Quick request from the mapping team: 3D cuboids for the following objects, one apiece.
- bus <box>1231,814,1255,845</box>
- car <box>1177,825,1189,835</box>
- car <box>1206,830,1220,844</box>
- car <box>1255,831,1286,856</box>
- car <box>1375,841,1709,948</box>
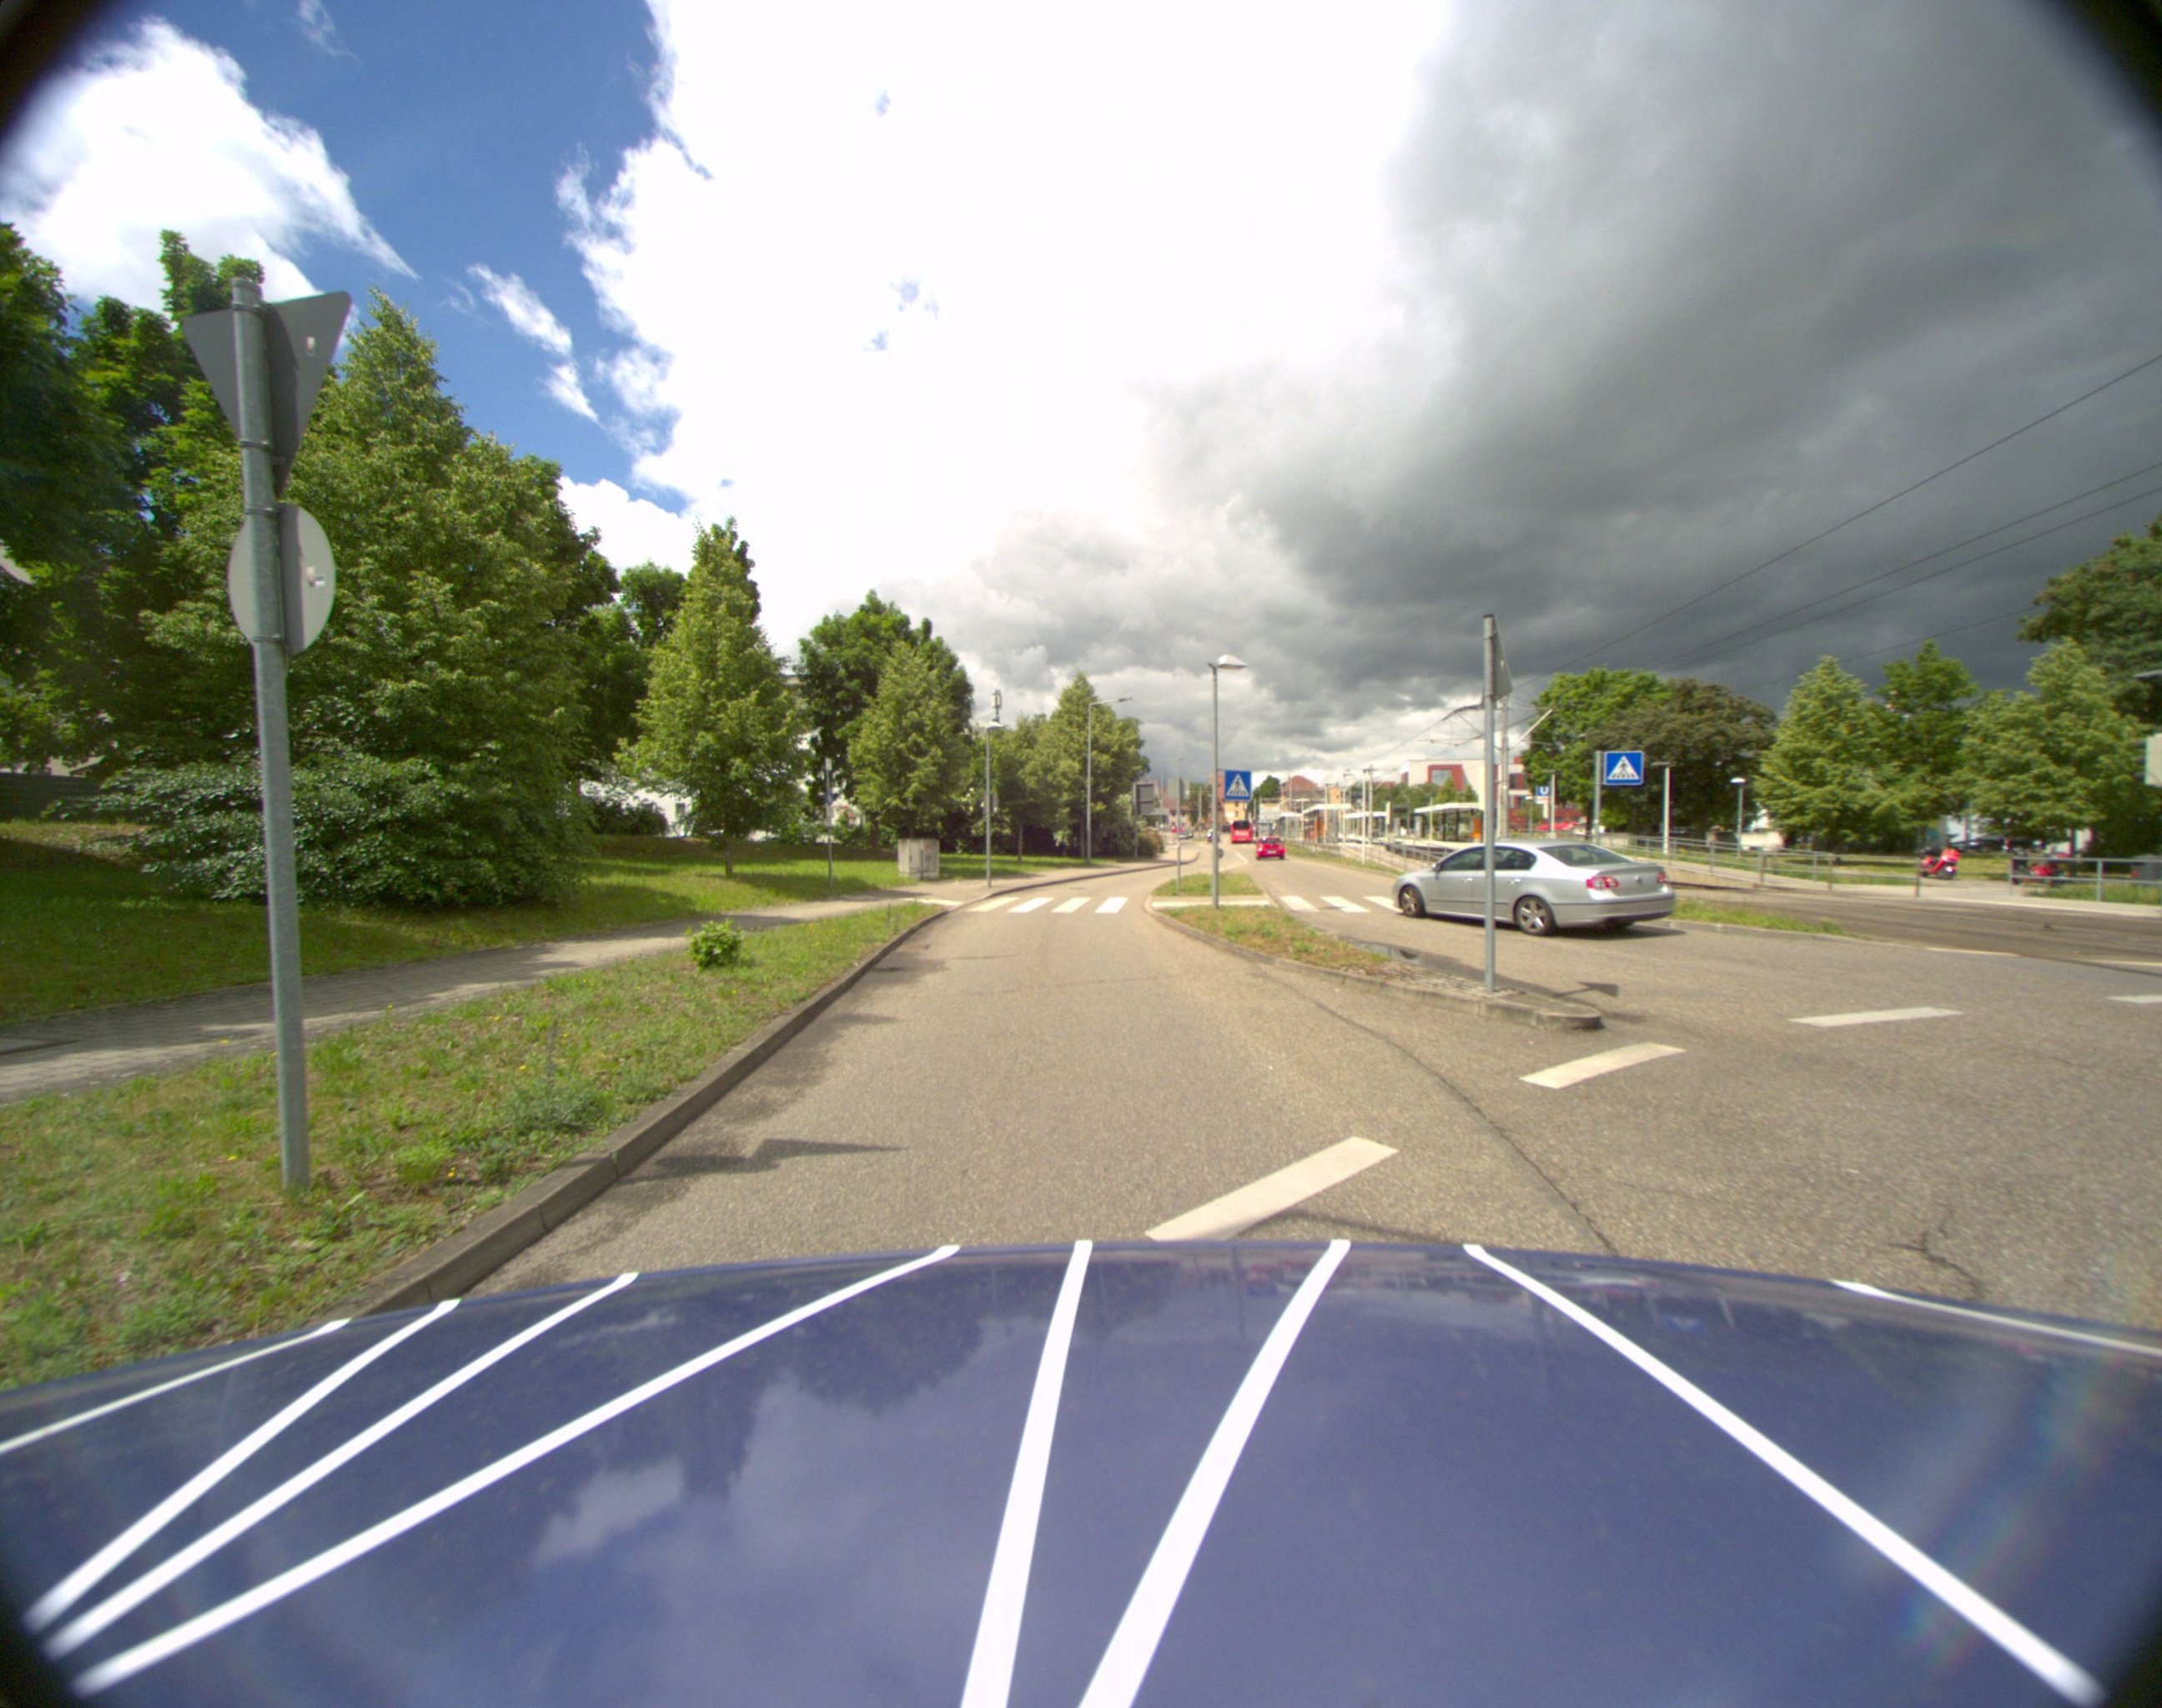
[{"bbox_3d":[21.406,-3.144,100.590,2.921,3.864,10.386,0,1,12],"label":"bus"},{"bbox_3d":[18.483,-4.382,138.194,1.997,1.849,4.002,0,1,10],"label":"car"},{"bbox_3d":[18.771,-2.398,108.182,1.849,1.916,3.779,0,1,10],"label":"car"},{"bbox_3d":[12.071,-0.704,48.534,1.737,1.501,3.516,-1,2,11],"label":"car"},{"bbox_3d":[7.315,0.506,12.744,1.943,1.374,4.653,-2,2,-18],"label":"car"}]
